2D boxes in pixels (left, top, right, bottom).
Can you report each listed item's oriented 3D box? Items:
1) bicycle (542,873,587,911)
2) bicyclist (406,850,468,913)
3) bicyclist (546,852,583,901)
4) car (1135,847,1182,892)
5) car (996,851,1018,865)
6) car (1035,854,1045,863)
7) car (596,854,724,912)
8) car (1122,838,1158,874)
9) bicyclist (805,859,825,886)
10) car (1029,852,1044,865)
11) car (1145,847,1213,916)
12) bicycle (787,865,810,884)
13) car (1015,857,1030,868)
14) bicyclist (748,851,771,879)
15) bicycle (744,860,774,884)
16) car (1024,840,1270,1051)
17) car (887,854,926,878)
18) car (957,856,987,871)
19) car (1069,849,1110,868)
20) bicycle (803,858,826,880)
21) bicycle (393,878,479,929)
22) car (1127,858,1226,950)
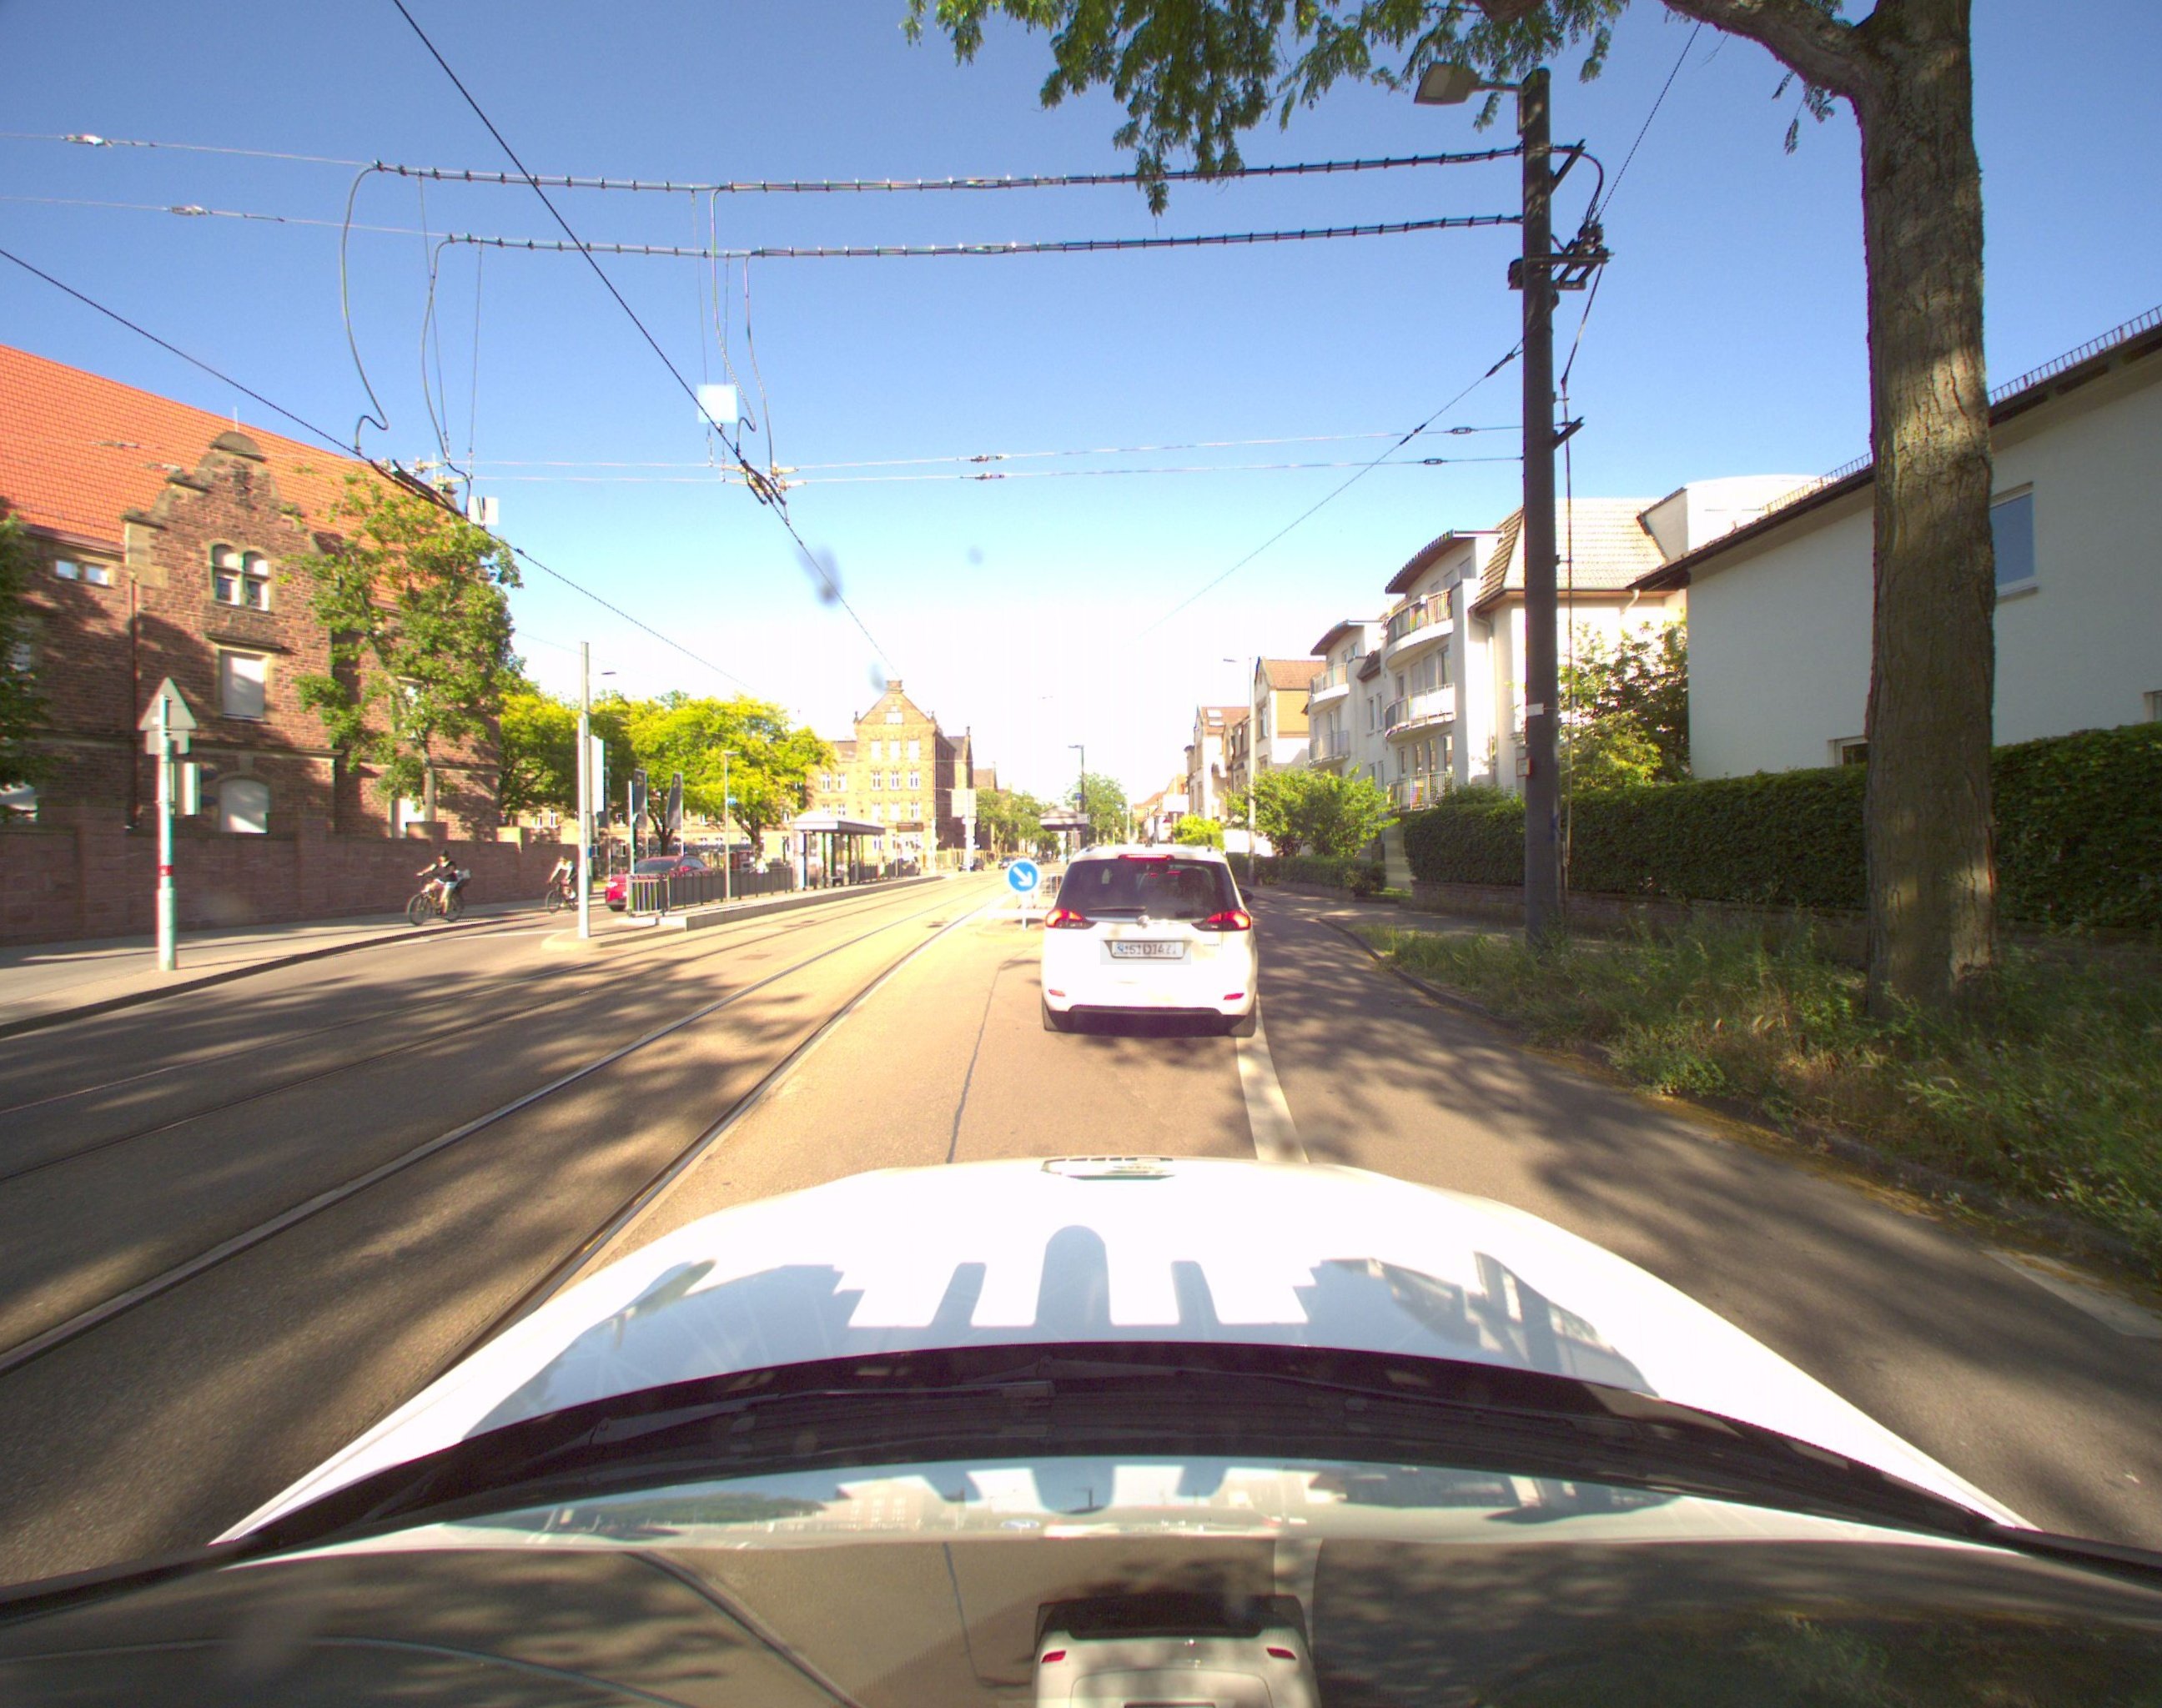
[{"bbox_3d":[-16.026,1.196,25.325,0.686,1.089,1.844,-1,-4,-16],"label":"bicycle"},{"bbox_3d":[-15.554,0.643,19.697,0.652,1.459,1.149,-1,0,-8],"label":"bicyclist"},{"bbox_3d":[-16.025,0.691,25.291,0.654,1.459,1.146,-1,0,-16],"label":"bicyclist"},{"bbox_3d":[2.995,0.578,32.015,1.590,1.635,3.903,1,0,2],"label":"car"},{"bbox_3d":[-8.859,0.539,98.125,1.818,1.617,4.334,-1,-1,6],"label":"car"},{"bbox_3d":[-7.610,0.792,150.354,1.657,1.651,3.999,-1,0,0],"label":"car"},{"bbox_3d":[-12.983,0.833,25.434,1.813,1.607,4.356,-1,0,-2],"label":"car"},{"bbox_3d":[2.874,0.064,40.364,1.590,1.634,3.903,1,2,2],"label":"car"},{"bbox_3d":[-15.959,1.095,48.825,0.758,1.536,1.347,-1,0,-2],"label":"bicyclist"},{"bbox_3d":[-7.669,0.767,140.961,1.985,2.013,4.003,-1,0,3],"label":"car"},{"bbox_3d":[2.556,0.646,21.100,1.560,1.614,3.792,1,0,7],"label":"car"},{"bbox_3d":[-17.022,1.250,49.047,0.667,1.072,2.015,0,0,0],"label":"bicycle"},{"bbox_3d":[-7.914,1.199,111.050,1.822,1.446,4.325,-1,-1,-1],"label":"car"},{"bbox_3d":[-17.001,0.573,43.053,0.754,1.471,1.190,0,-1,-1],"label":"bicyclist"},{"bbox_3d":[-16.994,0.938,43.056,0.812,1.198,1.952,0,0,0],"label":"bicycle"},{"bbox_3d":[0.748,0.677,8.190,1.868,1.585,4.008,0,0,7],"label":"car"},{"bbox_3d":[-13.906,0.919,65.038,1.818,1.788,4.261,-1,0,5],"label":"car"},{"bbox_3d":[-11.160,0.958,83.711,1.787,1.382,4.507,-1,0,9],"label":"car"},{"bbox_3d":[0.911,0.496,86.823,3.948,2.013,2.013,-1,0,37],"label":"car"},{"bbox_3d":[-15.959,0.892,48.820,0.775,1.231,2.087,-1,0,-2],"label":"bicycle"},{"bbox_3d":[-15.549,1.170,19.698,0.684,1.089,2.057,-1,0,-9],"label":"bicycle"},{"bbox_3d":[1.768,0.807,14.862,1.560,1.401,3.792,1,0,7],"label":"car"}]
